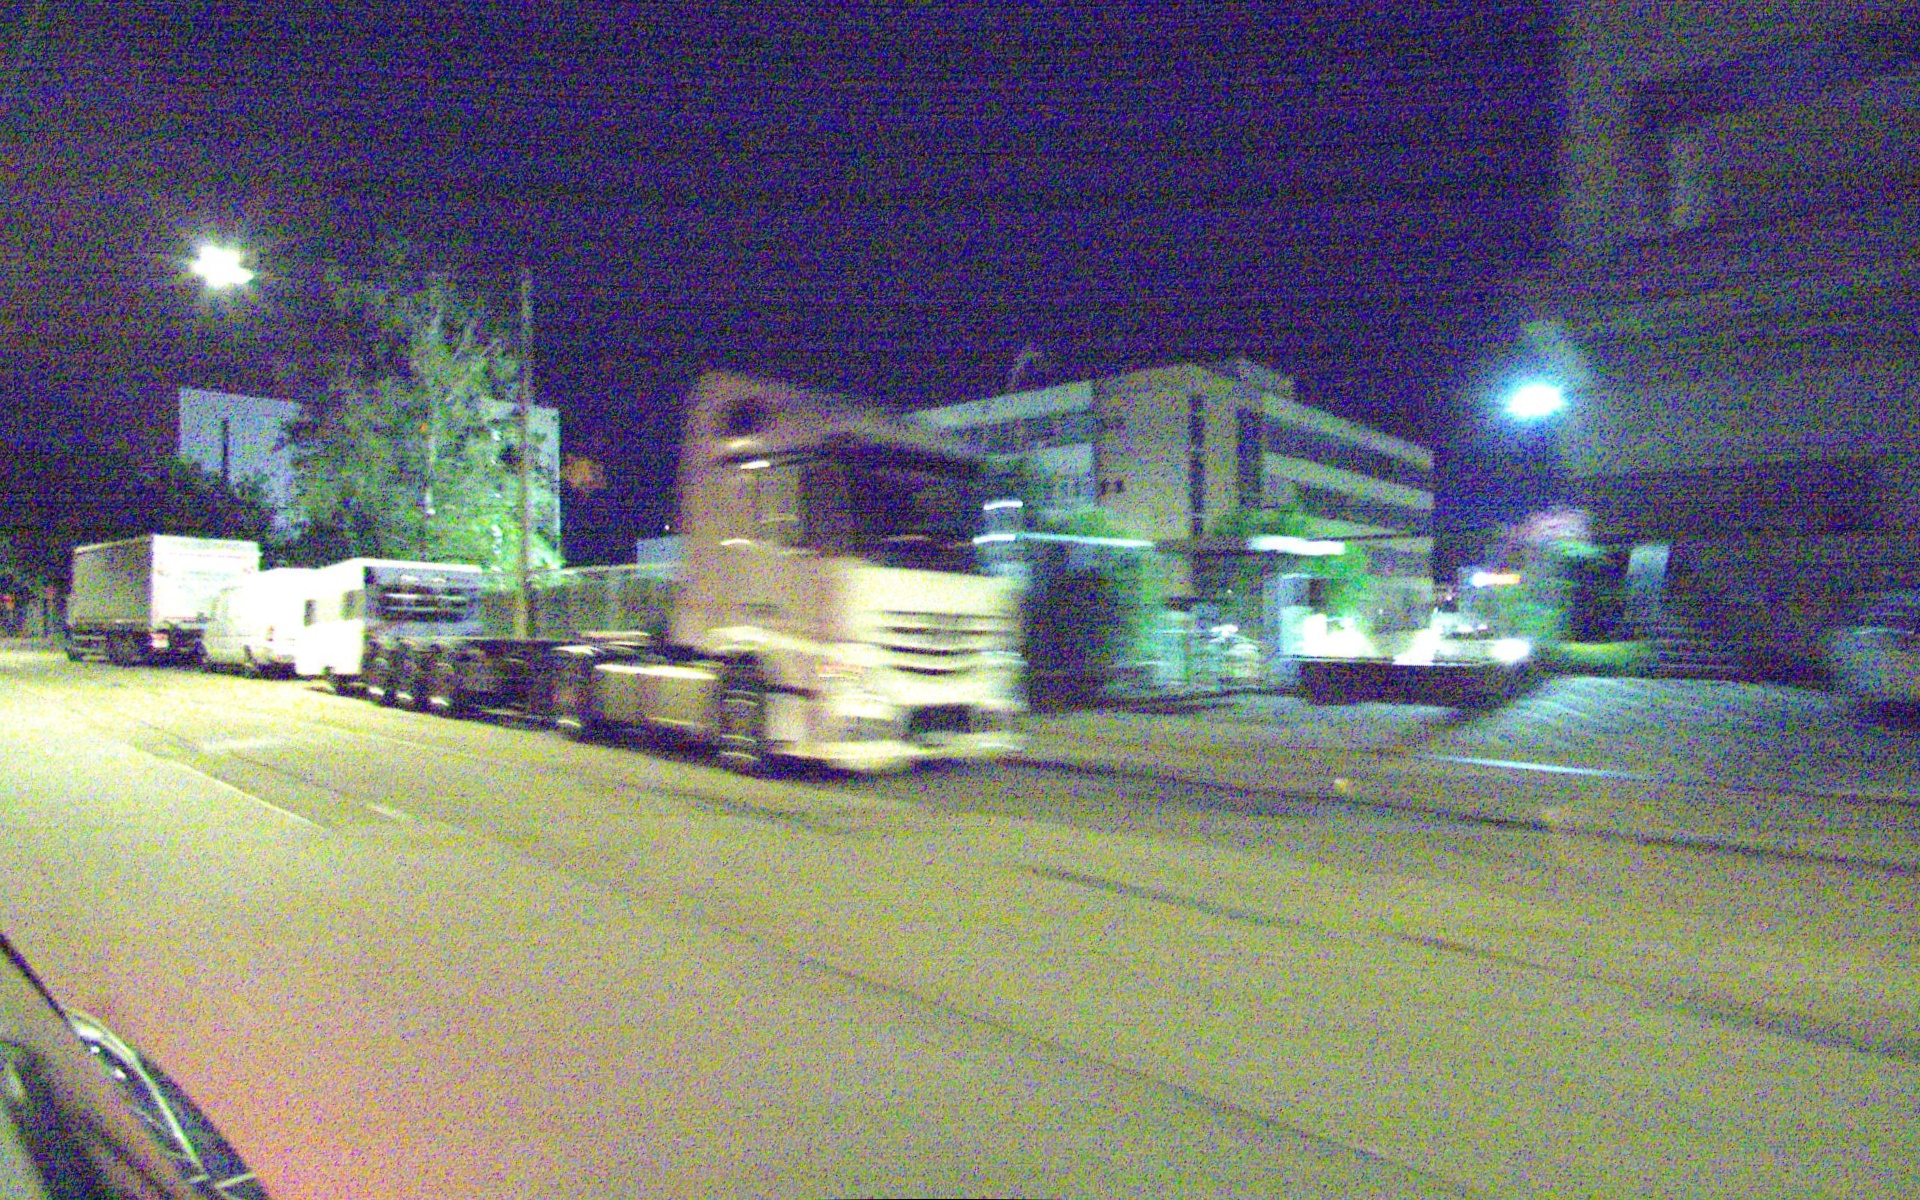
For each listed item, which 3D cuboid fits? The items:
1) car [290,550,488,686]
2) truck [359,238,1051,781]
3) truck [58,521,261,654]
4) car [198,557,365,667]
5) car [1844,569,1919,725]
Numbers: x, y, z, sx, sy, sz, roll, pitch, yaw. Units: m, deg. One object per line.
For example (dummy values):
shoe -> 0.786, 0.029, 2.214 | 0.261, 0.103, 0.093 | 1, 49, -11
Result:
car -> -11.157, 0.329, 19.655 | 4.468, 2.330, 2.116 | -1, 0, 43
truck -> -4.609, -0.685, 13.526 | 12.829, 4.347, 2.608 | 0, -2, 45
truck -> -25.647, -0.285, 32.160 | 10.388, 3.659, 2.794 | -1, 0, 39
car -> -16.979, 0.302, 25.196 | 5.741, 2.462, 1.973 | -1, 0, 41
car -> 11.533, 0.437, 11.684 | 1.804, 1.474, 3.949 | -1, 3, 39
